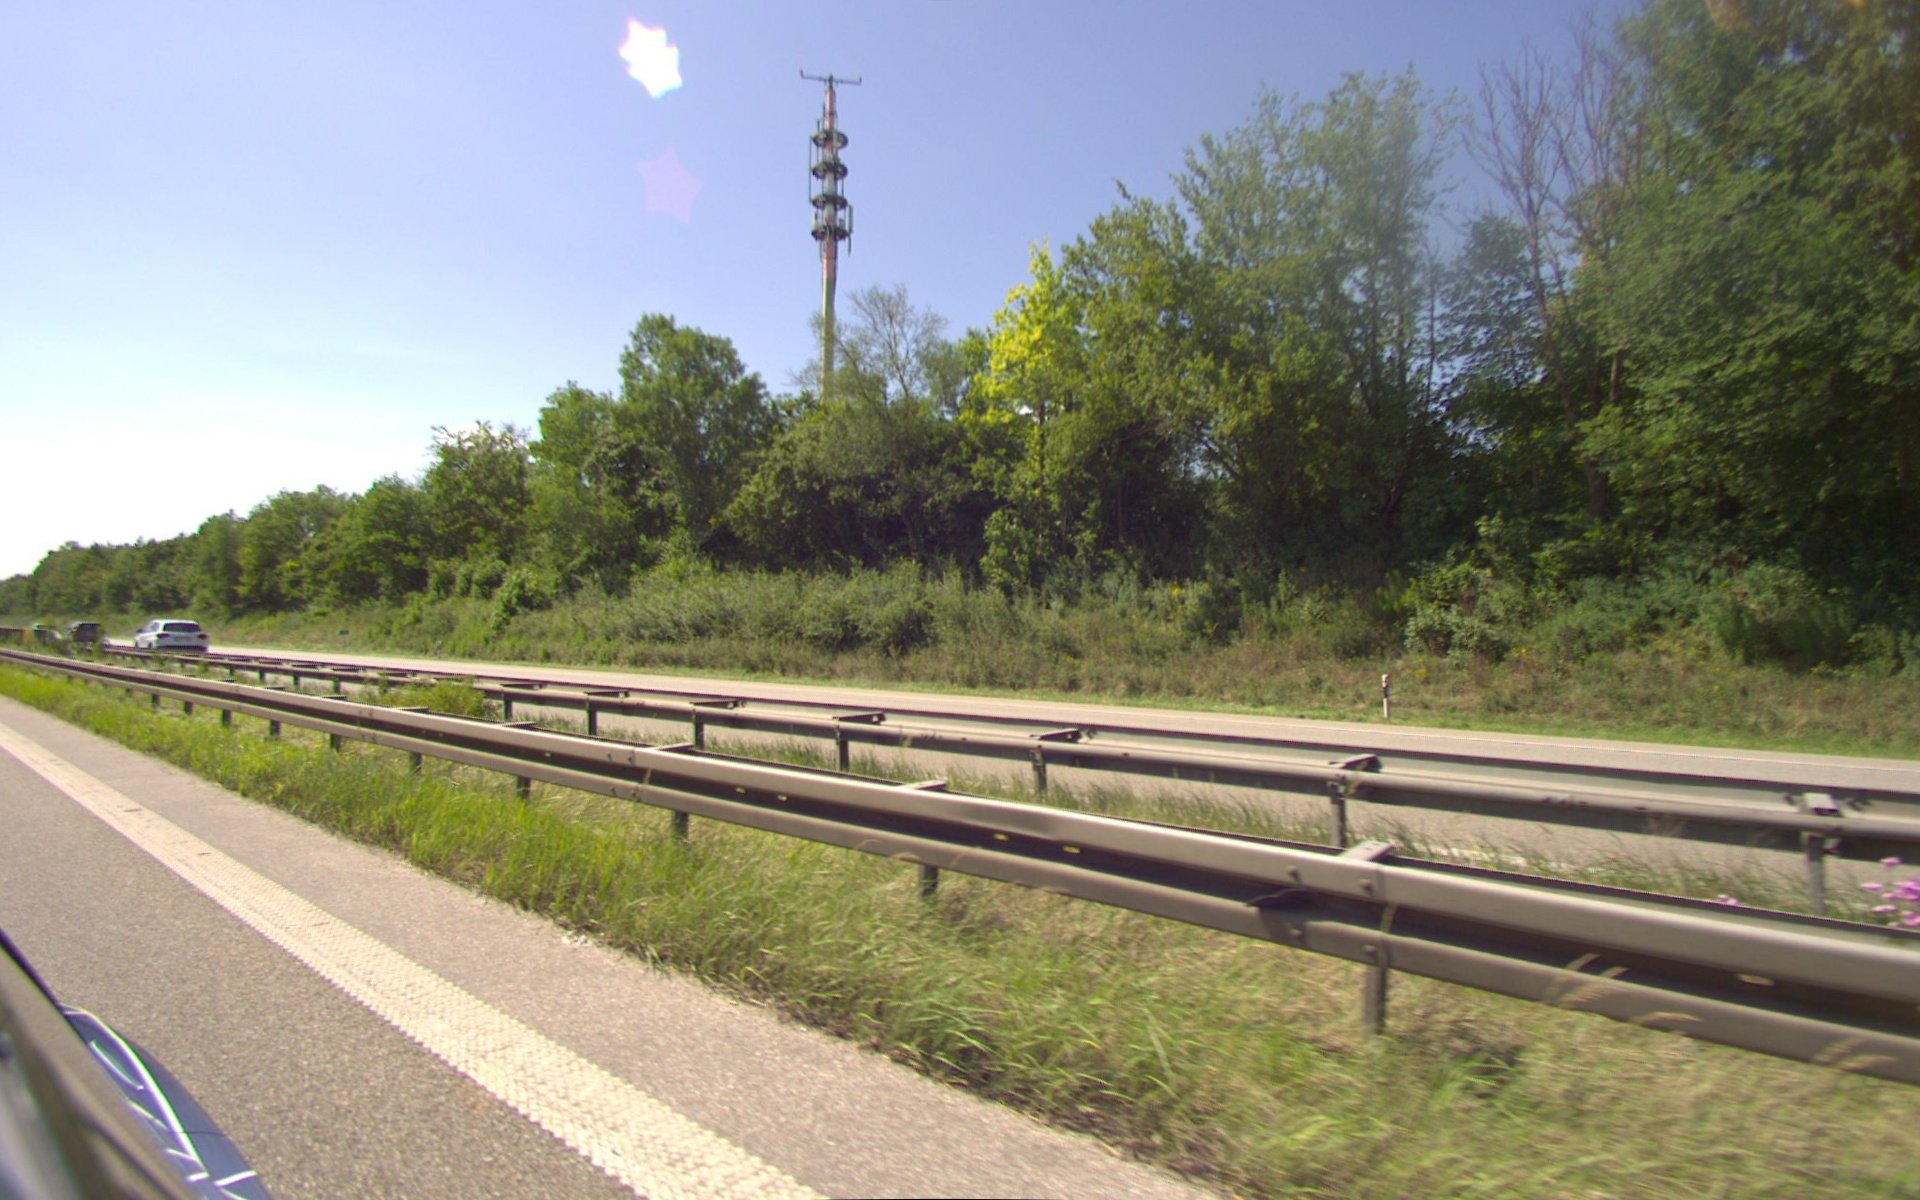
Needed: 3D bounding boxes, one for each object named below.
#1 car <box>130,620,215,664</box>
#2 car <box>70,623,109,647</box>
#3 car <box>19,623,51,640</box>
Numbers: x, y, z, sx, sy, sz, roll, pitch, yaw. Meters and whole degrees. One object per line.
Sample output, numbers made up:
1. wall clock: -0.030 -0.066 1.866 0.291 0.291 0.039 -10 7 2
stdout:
1. car: -30.480 1.615 39.150 3.911 1.629 1.793 -1 -4 41
2. car: -63.486 2.554 73.780 3.913 1.629 1.639 -1 -4 42
3. car: -84.065 2.866 91.953 4.318 1.489 1.640 -1 -4 42
